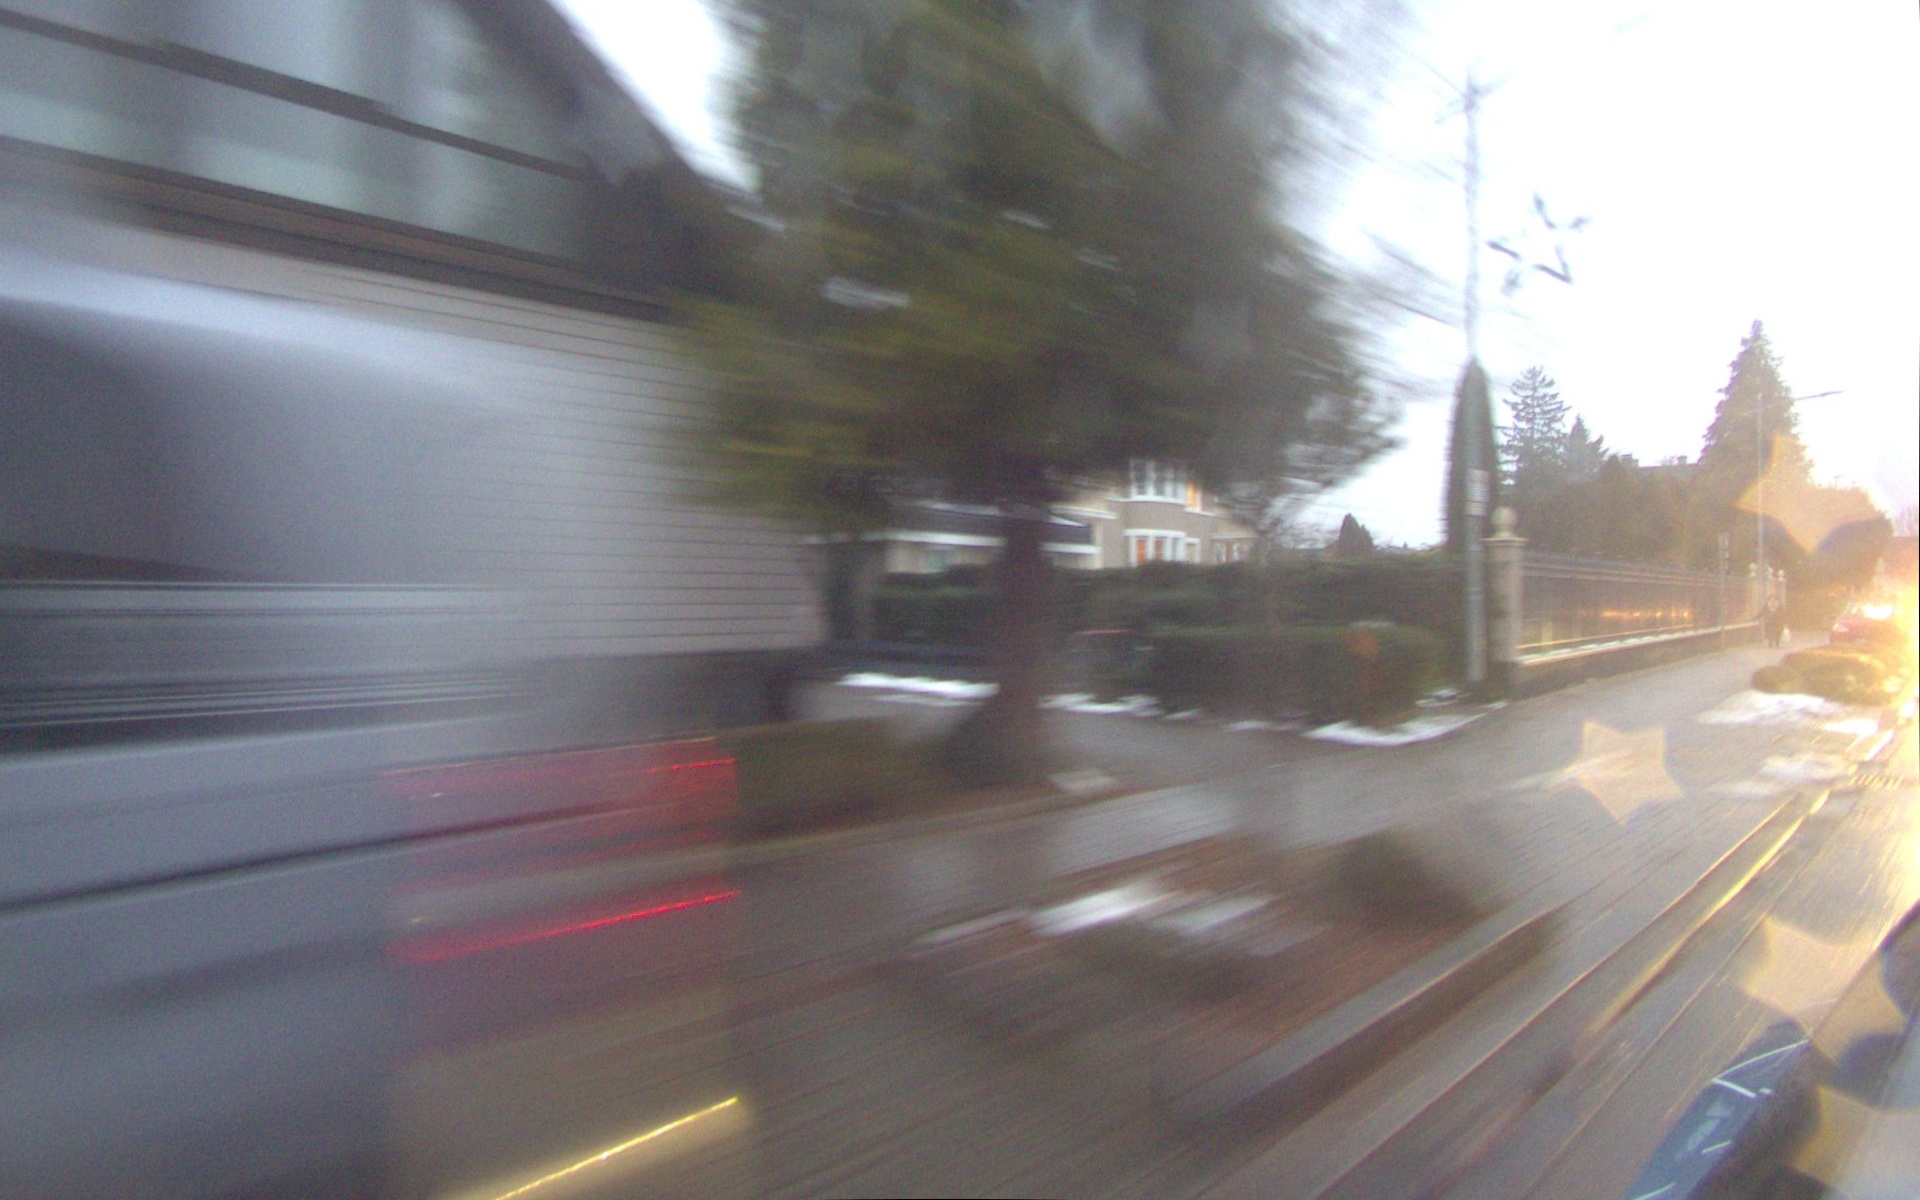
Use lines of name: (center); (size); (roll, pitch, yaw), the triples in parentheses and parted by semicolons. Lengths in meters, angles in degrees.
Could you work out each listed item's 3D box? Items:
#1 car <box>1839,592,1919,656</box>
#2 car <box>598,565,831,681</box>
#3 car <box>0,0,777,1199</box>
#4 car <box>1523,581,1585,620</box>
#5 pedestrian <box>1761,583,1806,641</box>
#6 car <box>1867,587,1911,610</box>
car: (25.190, 0.620, 27.519); (3.335, 1.559, 1.651); (0, 3, -45)
car: (-4.117, 0.376, 16.651); (3.986, 1.666, 1.864); (-1, -3, 44)
car: (-3.055, 0.331, 0.459); (5.646, 2.039, 1.981); (0, 1, -42)
car: (27.096, -0.002, 46.115); (1.936, 1.683, 4.173); (-1, 0, 37)
pedestrian: (25.627, 0.357, 31.480); (0.987, 1.763, 1.039); (1, 1, 44)
car: (69.044, -0.130, 75.252); (1.764, 1.638, 3.826); (-2, -1, 33)
